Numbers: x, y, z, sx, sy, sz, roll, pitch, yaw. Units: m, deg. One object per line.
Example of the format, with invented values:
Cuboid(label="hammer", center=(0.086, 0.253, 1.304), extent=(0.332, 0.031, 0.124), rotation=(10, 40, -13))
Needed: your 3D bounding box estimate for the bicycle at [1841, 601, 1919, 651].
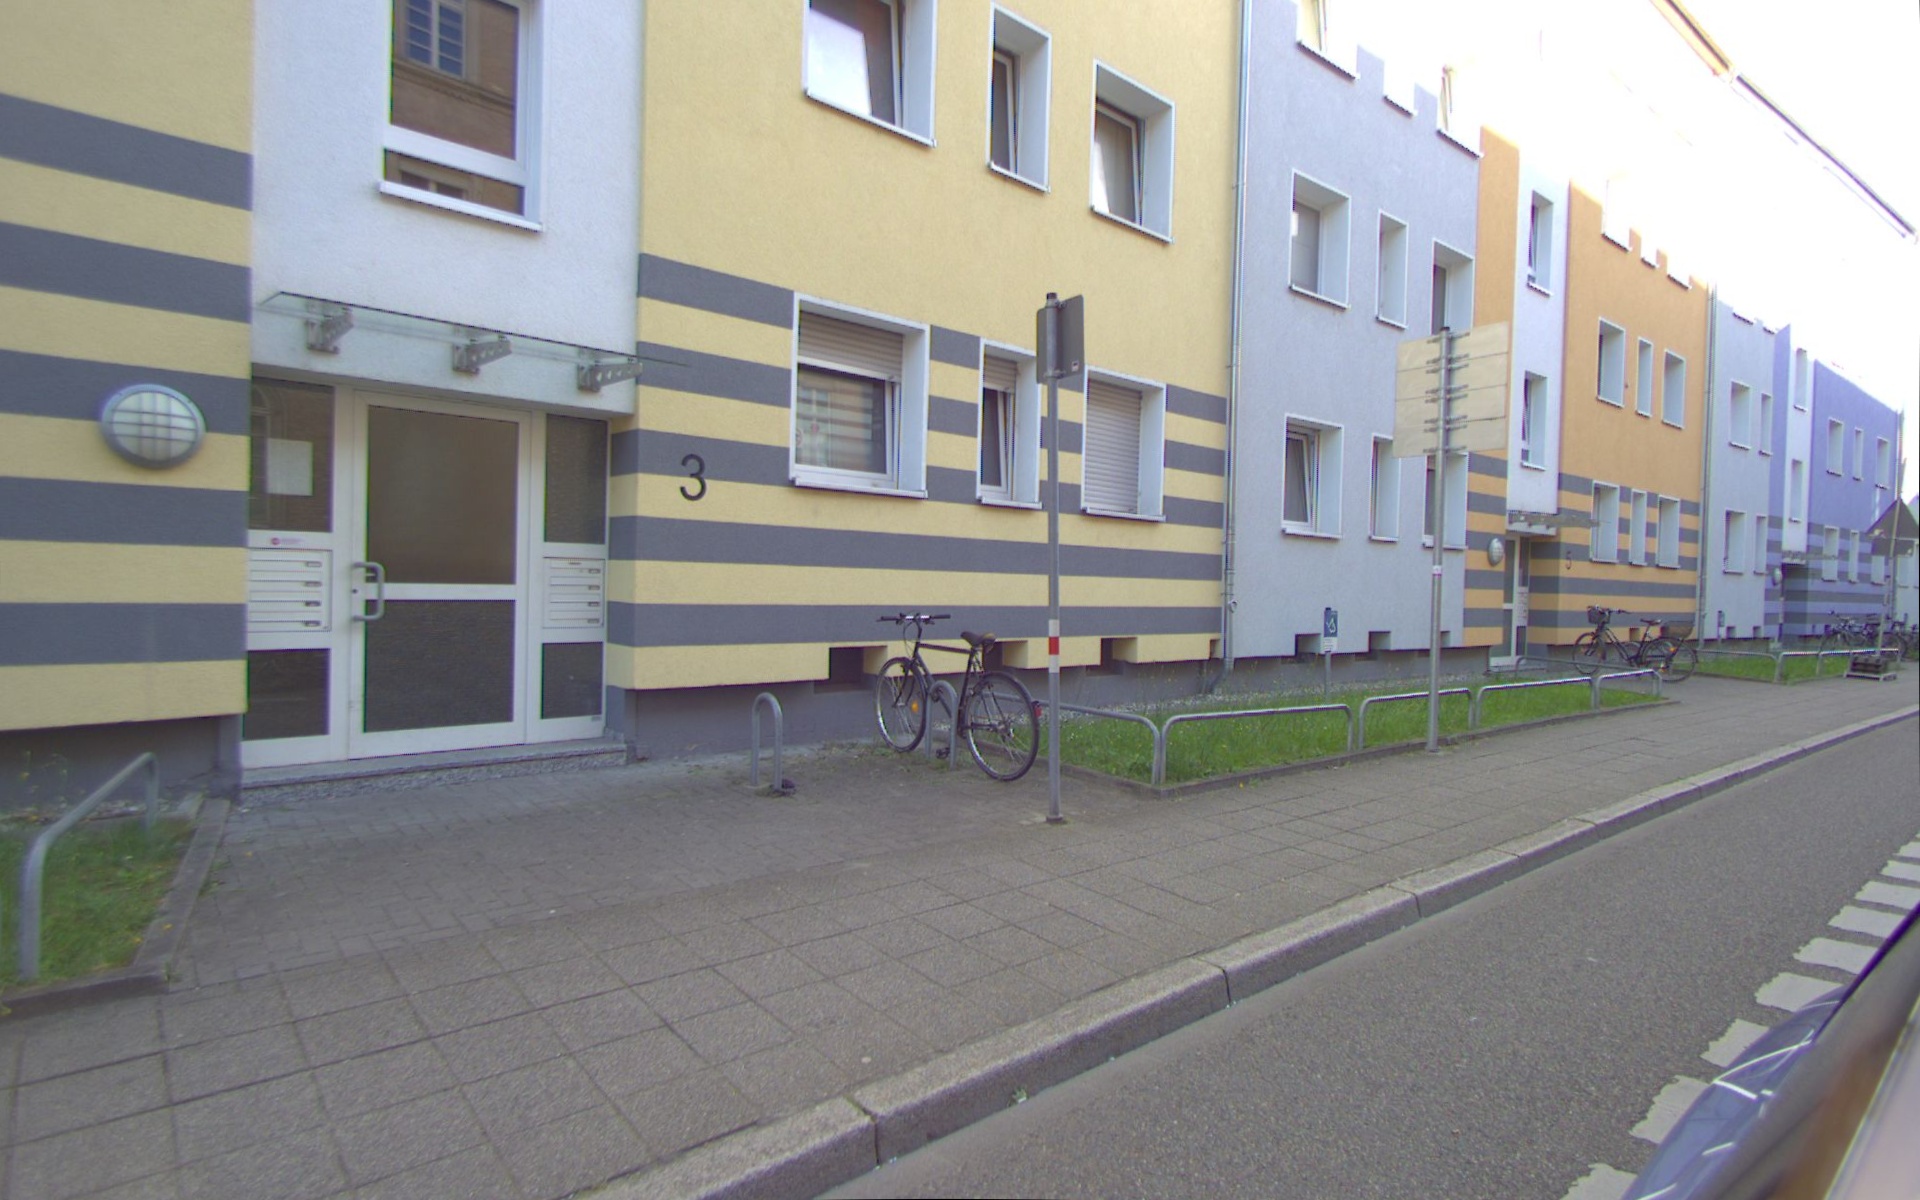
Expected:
Cuboid(label="bicycle", center=(23.293, 0.642, 25.416), extent=(0.475, 1.166, 1.678), rotation=(1, 1, -37))

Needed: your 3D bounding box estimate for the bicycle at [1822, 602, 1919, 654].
Cuboid(label="bicycle", center=(22.211, 0.659, 24.723), extent=(0.475, 1.166, 1.678), rotation=(1, 1, -37))

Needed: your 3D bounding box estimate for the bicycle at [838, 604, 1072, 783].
Cuboid(label="bicycle", center=(-0.087, 0.581, 7.010), extent=(1.775, 1.031, 0.476), rotation=(3, 1, 44))

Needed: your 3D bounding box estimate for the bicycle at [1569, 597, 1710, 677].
Cuboid(label="bicycle", center=(10.673, 0.557, 15.939), extent=(1.775, 1.137, 0.476), rotation=(3, 1, 44))

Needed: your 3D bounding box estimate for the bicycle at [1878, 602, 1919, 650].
Cuboid(label="bicycle", center=(24.120, 0.654, 25.272), extent=(0.475, 1.166, 1.678), rotation=(1, 1, -37))
